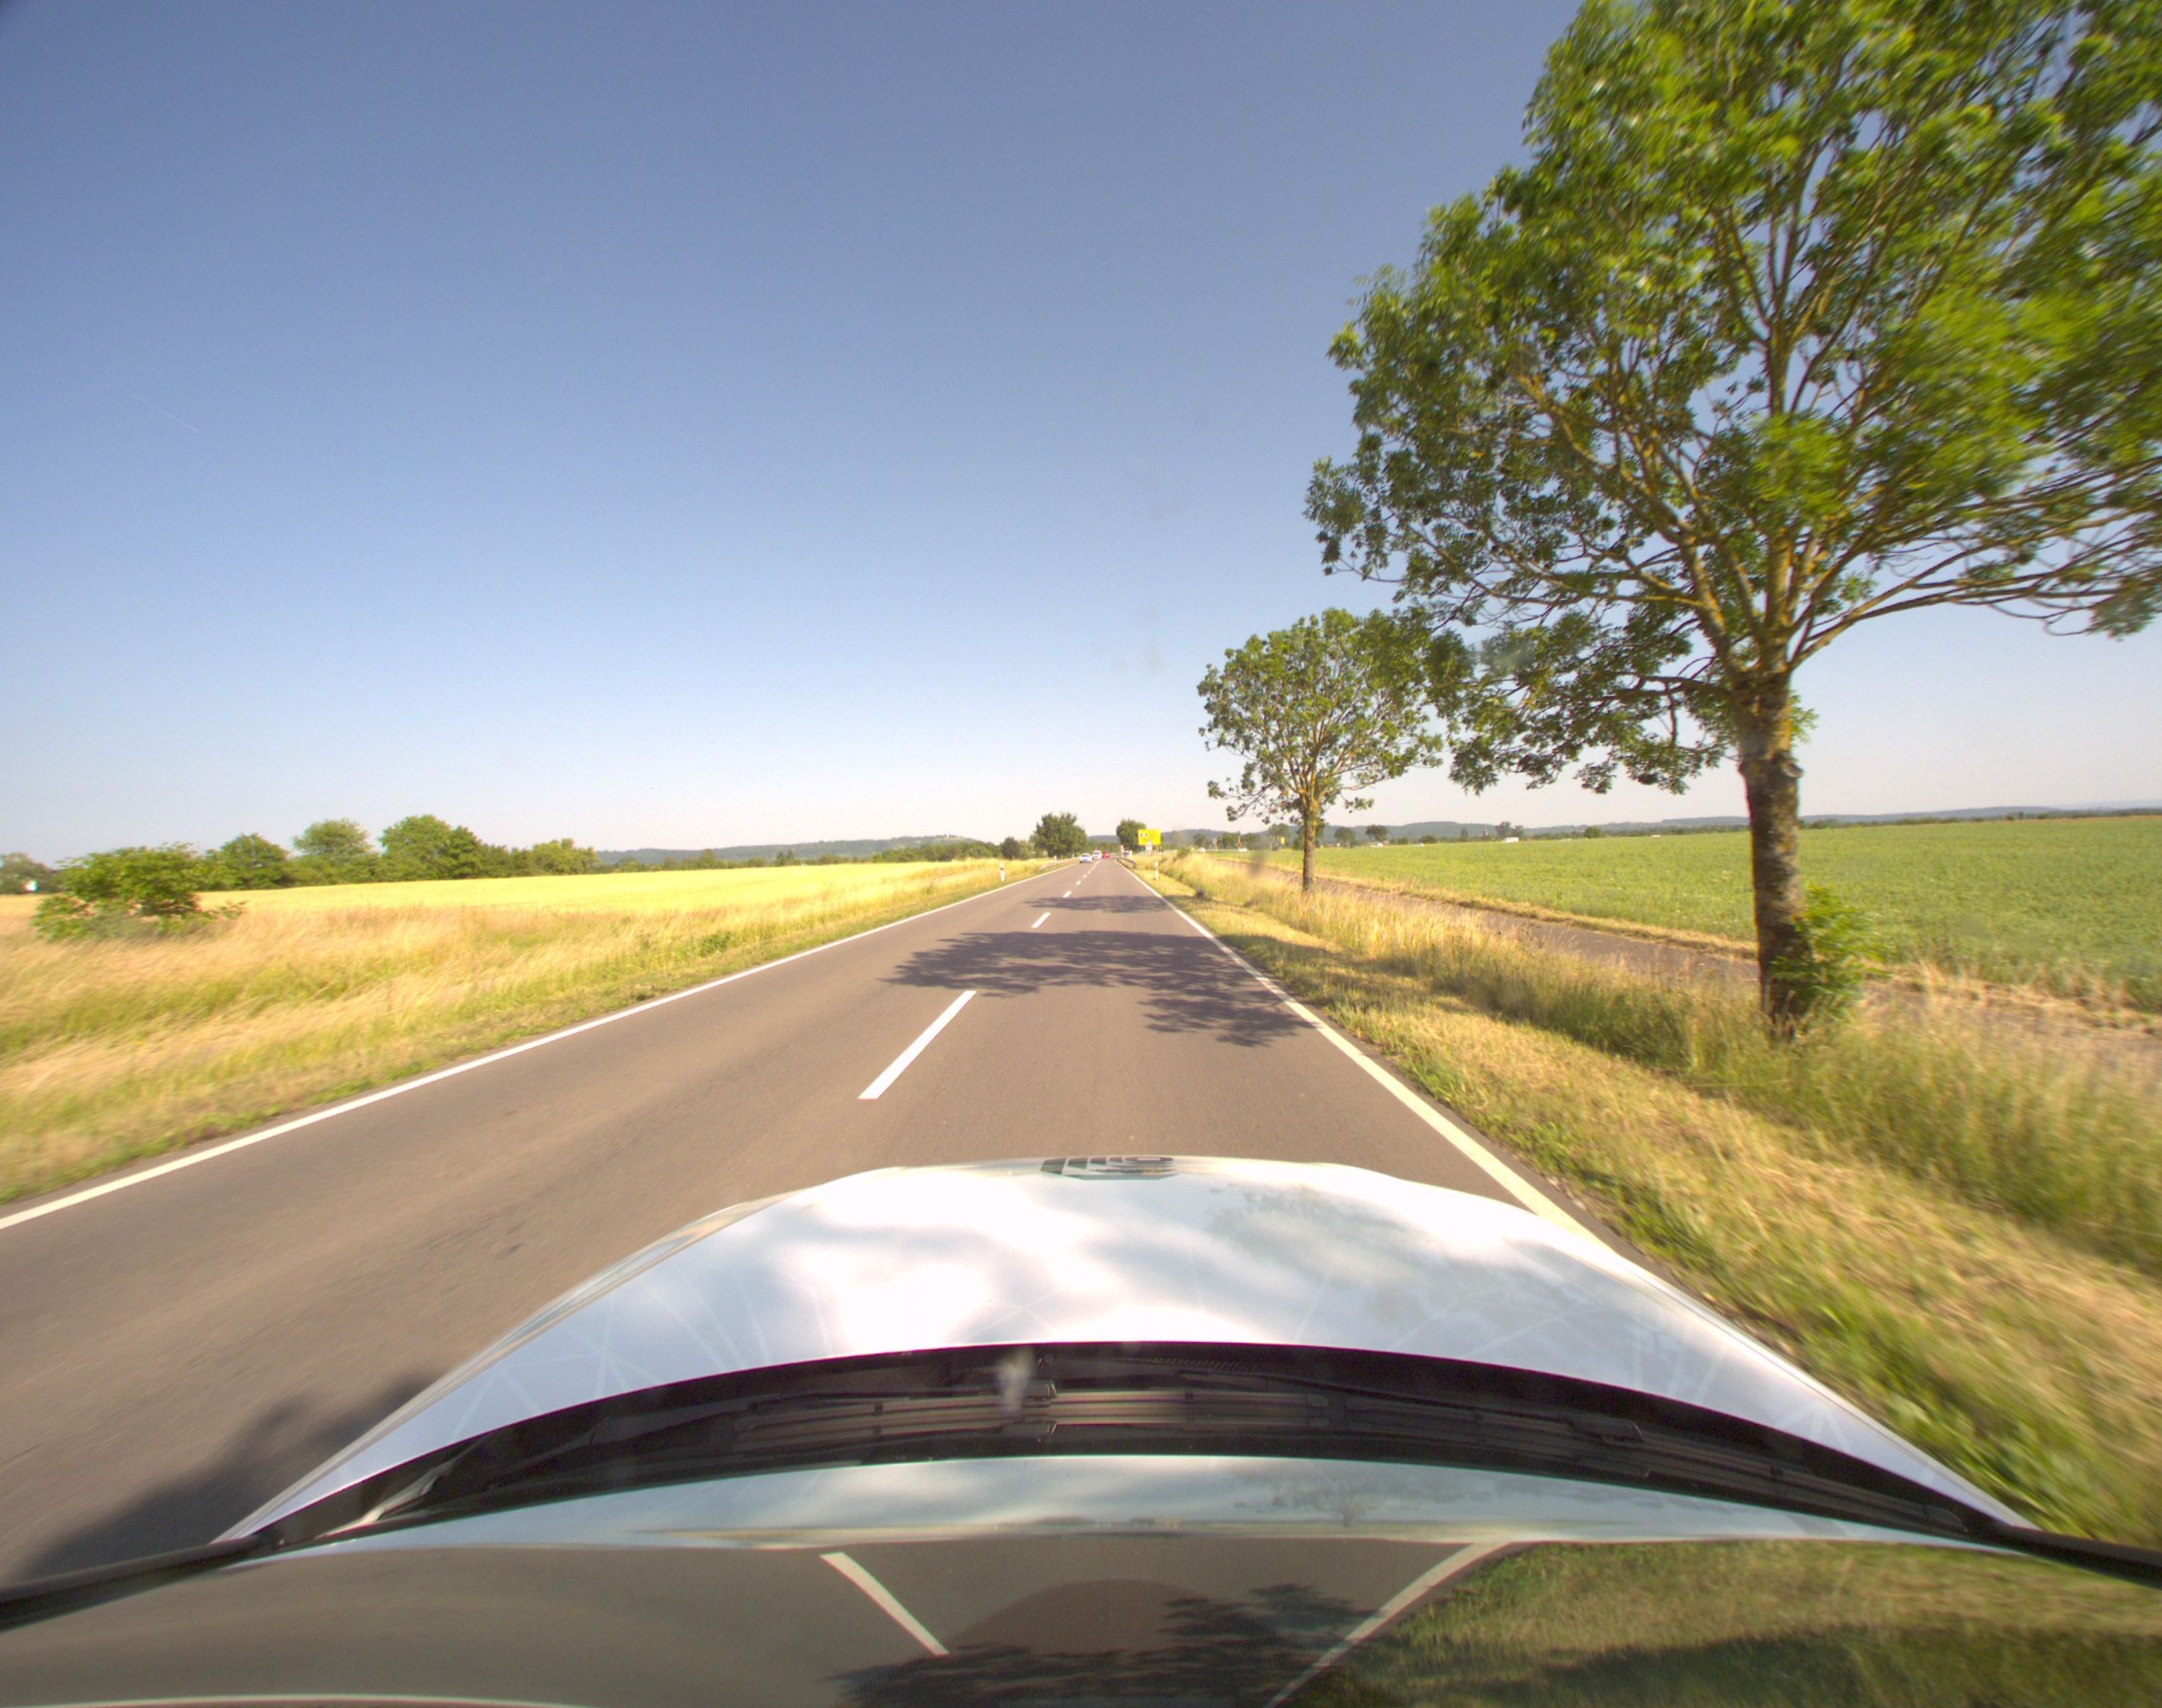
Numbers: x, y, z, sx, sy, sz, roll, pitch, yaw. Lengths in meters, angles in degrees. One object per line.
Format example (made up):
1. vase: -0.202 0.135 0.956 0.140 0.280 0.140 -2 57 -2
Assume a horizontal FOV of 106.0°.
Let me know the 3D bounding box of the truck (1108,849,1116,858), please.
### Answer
1. truck: 9.109 -0.258 236.987 1.983 2.520 6.254 -1 0 6

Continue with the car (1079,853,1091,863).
1. car: 0.688 0.663 128.127 1.720 1.437 4.518 -1 0 1

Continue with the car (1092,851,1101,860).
1. car: 3.514 0.333 184.047 1.829 1.787 4.437 -1 0 2

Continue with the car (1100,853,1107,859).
1. car: 5.663 0.387 206.198 1.600 1.488 3.781 -1 0 2
